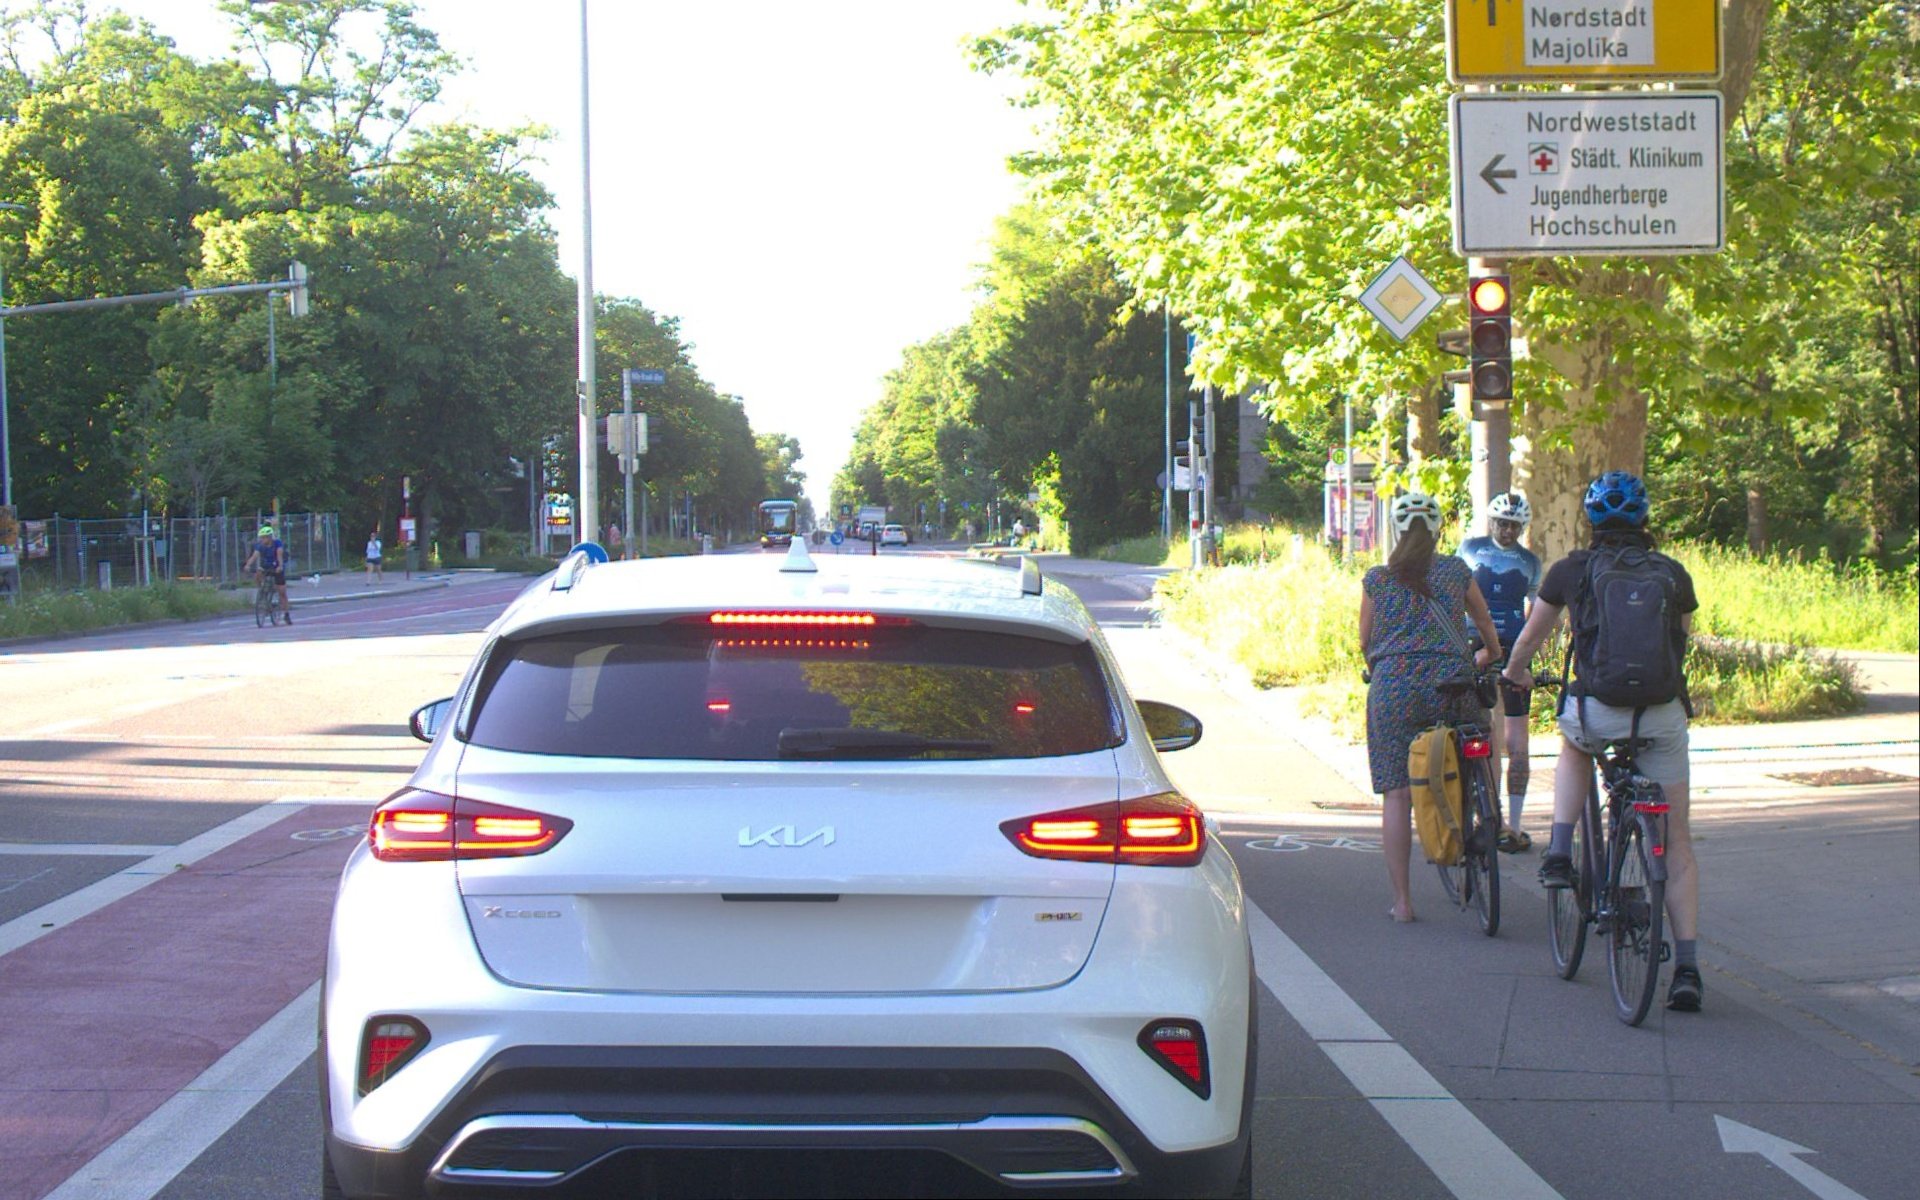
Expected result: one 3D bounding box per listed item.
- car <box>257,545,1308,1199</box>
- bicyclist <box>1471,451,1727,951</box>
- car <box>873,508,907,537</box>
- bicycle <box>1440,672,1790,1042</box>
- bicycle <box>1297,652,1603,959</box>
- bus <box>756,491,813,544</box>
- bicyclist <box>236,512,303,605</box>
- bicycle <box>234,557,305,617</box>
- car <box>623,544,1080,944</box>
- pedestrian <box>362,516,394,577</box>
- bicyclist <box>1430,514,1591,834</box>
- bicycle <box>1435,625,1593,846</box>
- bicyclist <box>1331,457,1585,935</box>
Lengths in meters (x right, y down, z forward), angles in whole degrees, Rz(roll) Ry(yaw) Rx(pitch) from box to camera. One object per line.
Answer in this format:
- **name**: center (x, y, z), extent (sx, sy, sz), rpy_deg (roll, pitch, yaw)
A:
- **car**: center (-0.371, 0.629, 7.946), extent (1.821, 1.475, 3.937), rpy_deg (0, 1, -2)
- **bicyclist**: center (2.099, 0.316, 11.363), extent (0.665, 1.596, 0.721), rpy_deg (1, 1, -2)
- **car**: center (-4.970, -5.503, 243.301), extent (1.993, 2.007, 4.001), rpy_deg (-2, 1, -6)
- **bicycle**: center (2.095, 0.788, 11.277), extent (0.668, 1.006, 2.081), rpy_deg (1, 1, -2)
- **bicycle**: center (1.916, 0.770, 13.847), extent (0.758, 1.009, 2.570), rpy_deg (1, 1, -2)
- **bus**: center (-12.847, -6.033, 250.876), extent (3.741, 3.660, 13.243), rpy_deg (-1, 1, -4)
- **bicyclist**: center (-12.191, -0.742, 60.724), extent (0.875, 1.603, 1.188), rpy_deg (-1, 1, 1)
- **bicycle**: center (-12.180, -0.246, 60.706), extent (0.663, 0.985, 2.504), rpy_deg (-1, 1, 2)
- **car**: center (-0.485, 0.528, 15.033), extent (1.728, 1.478, 3.517), rpy_deg (-1, 1, -2)
- **pedestrian**: center (-17.044, -1.561, 100.668), extent (0.785, 1.779, 0.751), rpy_deg (0, 1, 0)
- **bicyclist**: center (2.639, 0.344, 16.533), extent (0.554, 1.473, 0.717), rpy_deg (-4, 1, -2)
- **bicycle**: center (2.639, 0.625, 16.485), extent (0.401, 0.953, 1.551), rpy_deg (-4, 1, -2)
- **bicyclist**: center (1.937, 0.349, 13.518), extent (0.753, 1.789, 1.165), rpy_deg (1, 1, -2)
